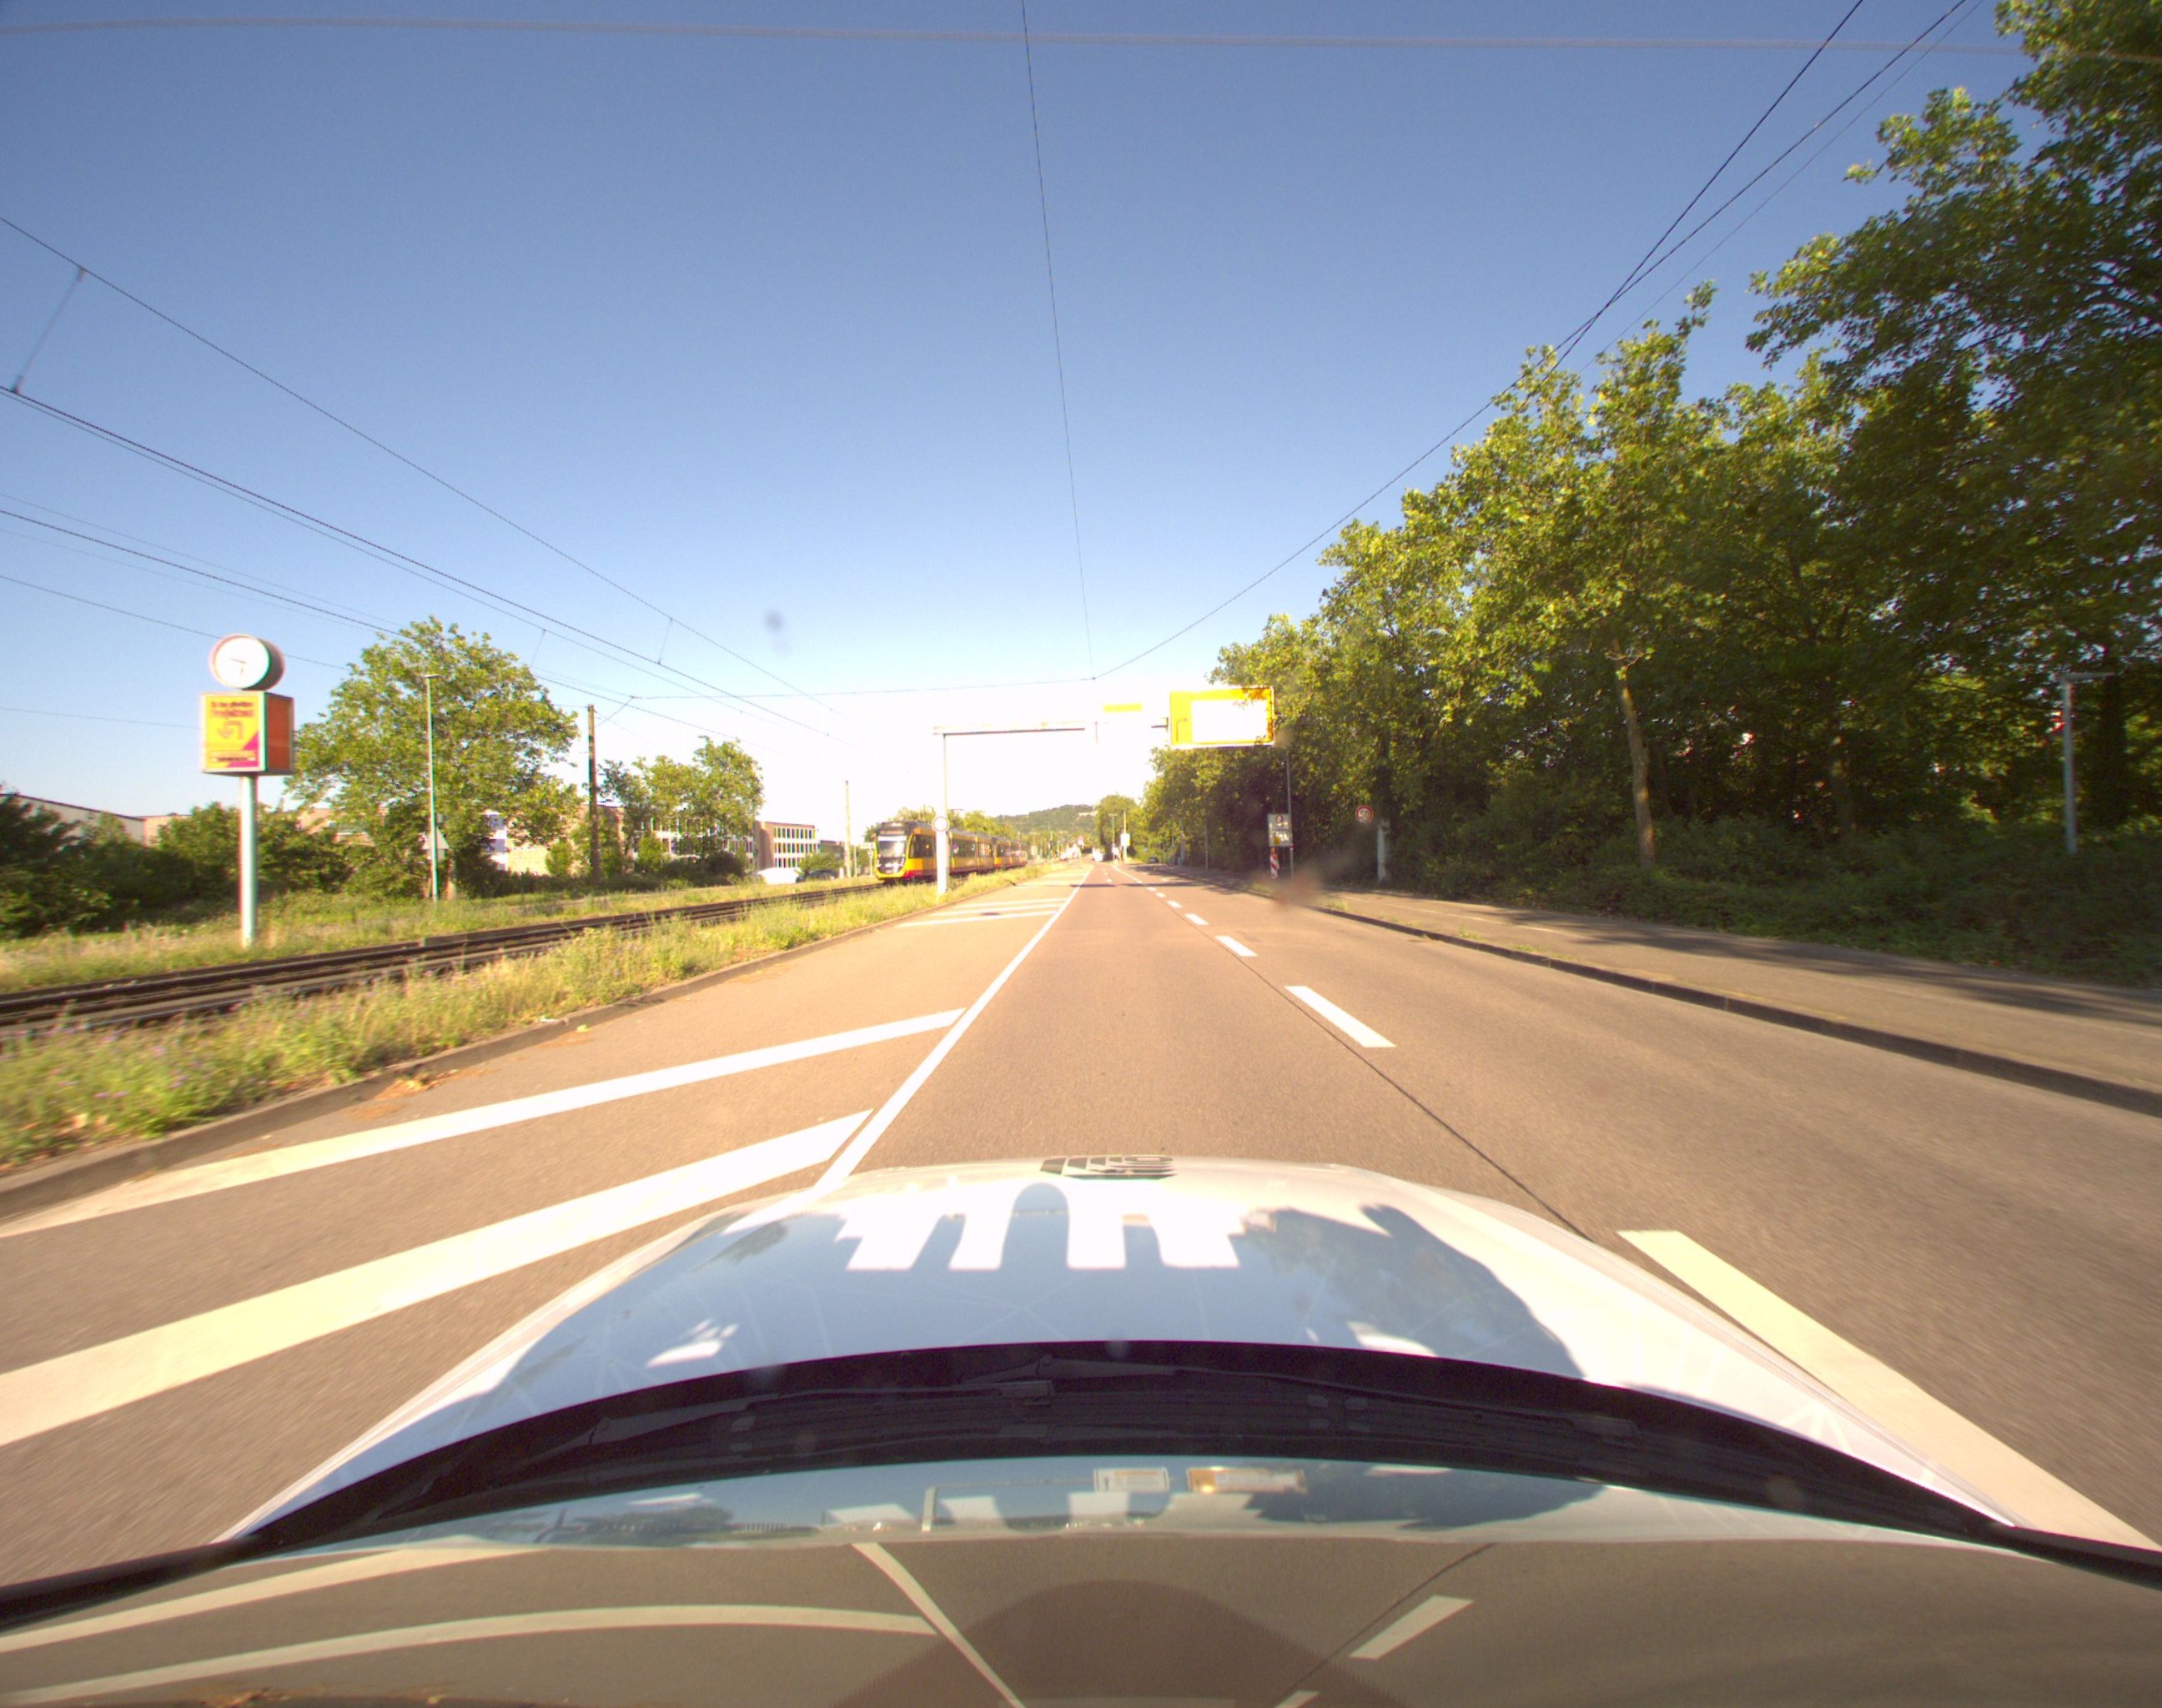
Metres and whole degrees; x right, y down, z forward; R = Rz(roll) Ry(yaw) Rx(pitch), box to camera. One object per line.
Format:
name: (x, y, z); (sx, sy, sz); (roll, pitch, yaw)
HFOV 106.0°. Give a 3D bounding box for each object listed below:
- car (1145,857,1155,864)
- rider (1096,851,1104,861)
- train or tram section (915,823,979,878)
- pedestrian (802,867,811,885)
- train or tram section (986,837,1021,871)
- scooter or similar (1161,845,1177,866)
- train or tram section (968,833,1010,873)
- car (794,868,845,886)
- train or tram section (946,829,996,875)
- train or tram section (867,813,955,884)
car: (14.607, 1.337, 172.421); (2.075, 1.566, 3.963); (-1, 0, 7)
rider: (5.164, 0.564, 223.461); (2.098, 2.647, 0.738); (-1, 0, 6)
train or tram section: (-10.178, -0.201, 63.424); (2.794, 3.902, 11.992); (0, 0, 1)
pedestrian: (-27.600, 2.178, 81.769); (0.535, 1.821, 0.655); (-1, -1, 23)
train or tram section: (-9.462, 0.007, 100.358); (2.814, 3.950, 12.656); (0, 0, 1)
scooter or similar: (11.801, 0.240, 109.412); (1.675, 2.716, 4.871); (-1, 0, 2)
train or tram section: (-9.744, -0.036, 87.677); (2.814, 3.950, 12.709); (0, 0, 1)
car: (-28.621, 2.481, 89.212); (5.147, 1.815, 1.931); (0, -1, -26)
train or tram section: (-9.991, -0.132, 75.336); (2.794, 3.902, 11.813); (0, 0, 1)
train or tram section: (-10.367, -0.281, 51.254); (2.794, 3.902, 12.333); (0, 0, 1)
